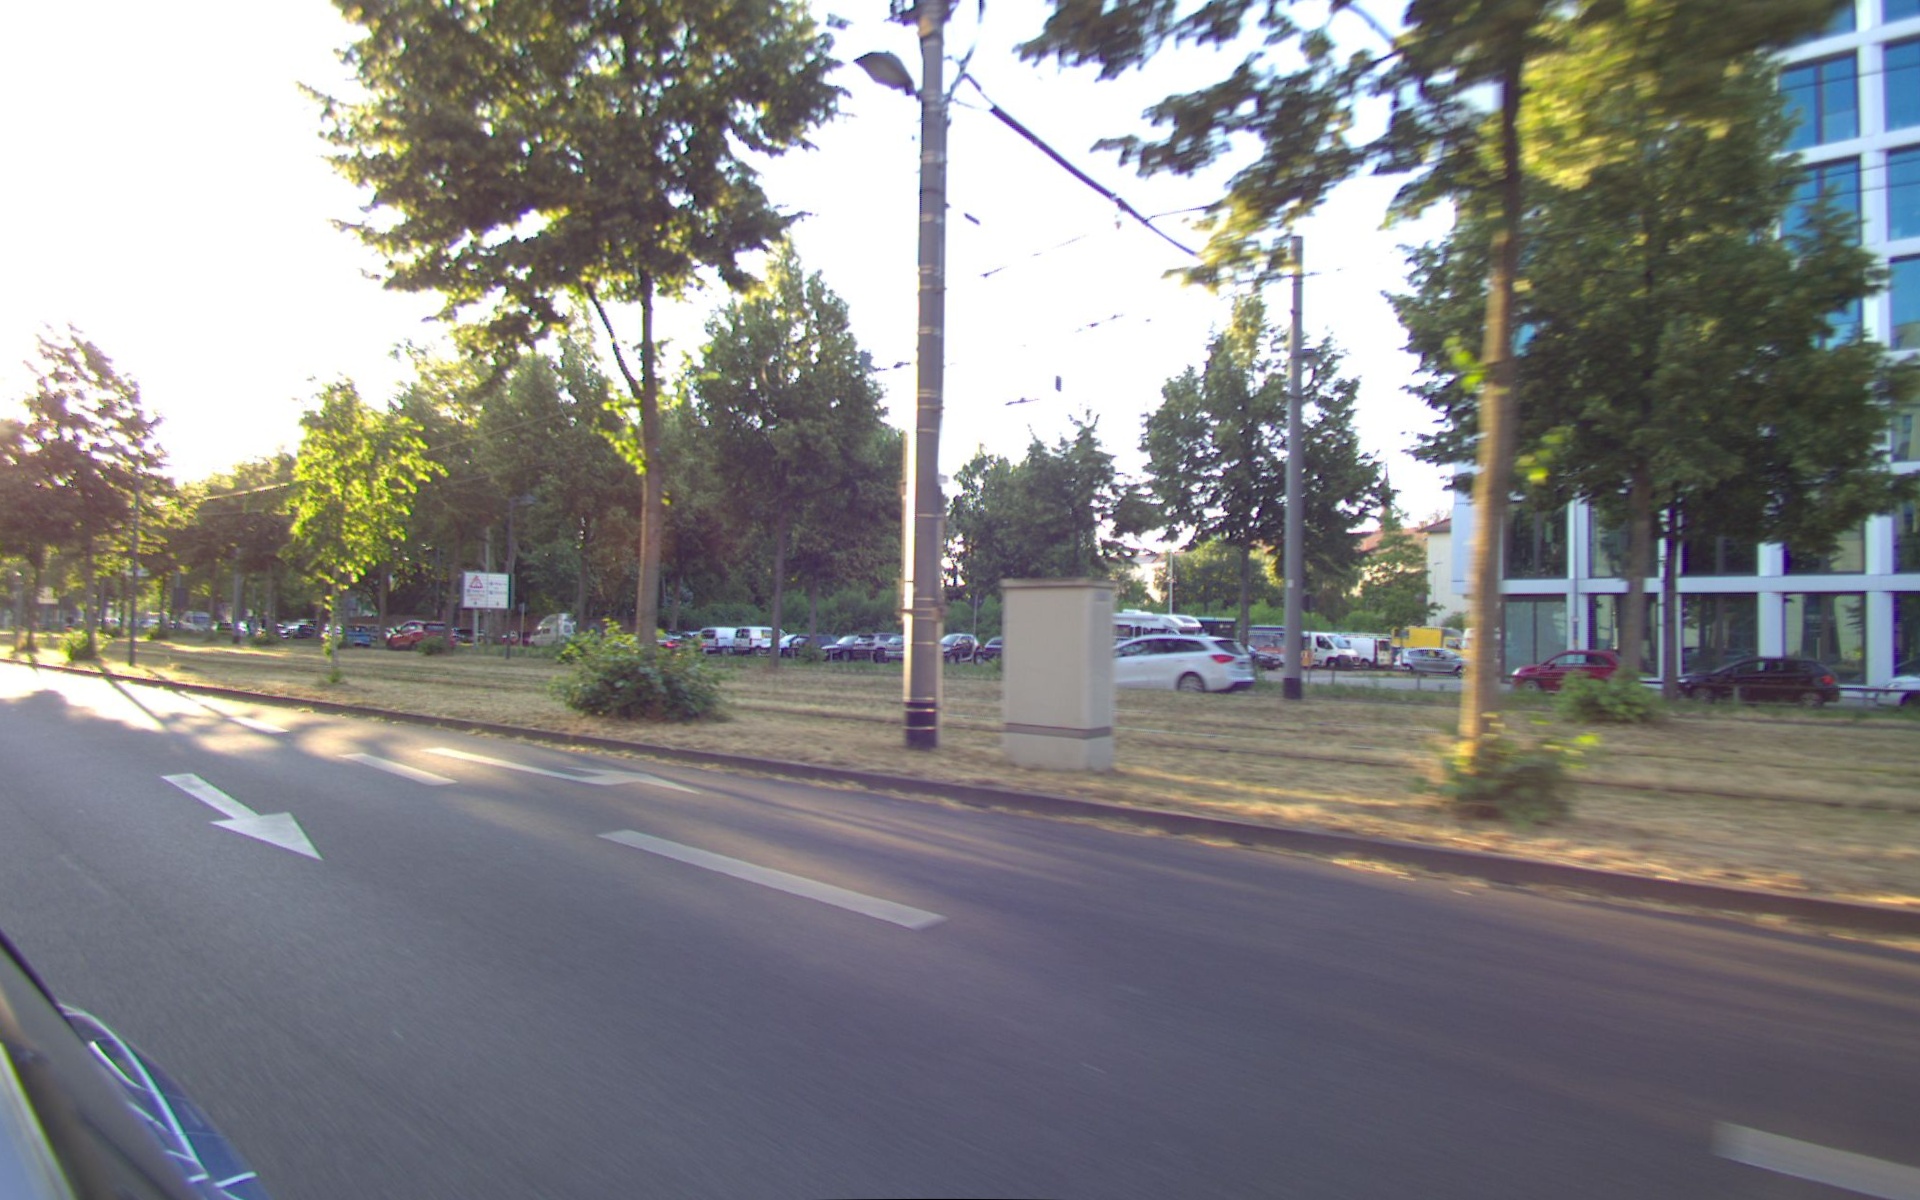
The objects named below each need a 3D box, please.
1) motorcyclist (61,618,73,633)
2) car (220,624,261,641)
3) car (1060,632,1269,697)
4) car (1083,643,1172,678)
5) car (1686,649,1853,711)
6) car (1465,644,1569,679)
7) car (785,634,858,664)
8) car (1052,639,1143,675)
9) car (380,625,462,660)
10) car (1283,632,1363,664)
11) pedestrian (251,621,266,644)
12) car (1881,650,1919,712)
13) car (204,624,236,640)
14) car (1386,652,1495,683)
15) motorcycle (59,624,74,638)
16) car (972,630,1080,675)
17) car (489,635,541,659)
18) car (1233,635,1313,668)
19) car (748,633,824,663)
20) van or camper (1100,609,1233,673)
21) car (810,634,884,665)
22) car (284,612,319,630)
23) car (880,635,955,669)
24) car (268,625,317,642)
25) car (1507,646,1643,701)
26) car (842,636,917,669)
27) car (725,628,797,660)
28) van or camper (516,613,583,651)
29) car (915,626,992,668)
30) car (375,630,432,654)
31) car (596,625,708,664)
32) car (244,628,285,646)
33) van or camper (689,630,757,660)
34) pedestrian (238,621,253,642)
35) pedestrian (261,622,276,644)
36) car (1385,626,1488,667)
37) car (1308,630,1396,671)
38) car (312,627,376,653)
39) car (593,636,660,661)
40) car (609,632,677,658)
[{"bbox_3d":[-85.214,2.425,96.532,0.803,1.386,0.674,-1,-3,37],"label":"motorcyclist"},{"bbox_3d":[-67.633,3.027,95.129,4.552,1.510,1.974,-1,-3,39],"label":"car"},{"bbox_3d":[4.686,1.455,23.551,4.522,1.342,1.641,-1,-3,37],"label":"car"},{"bbox_3d":[8.313,2.971,50.270,3.999,1.652,1.895,-1,-3,42],"label":"car"},{"bbox_3d":[23.298,2.261,29.245,3.661,1.594,1.841,-1,-2,39],"label":"car"},{"bbox_3d":[28.210,3.083,51.350,1.741,1.601,4.285,3,-3,-40],"label":"car"},{"bbox_3d":[-7.770,2.753,57.124,1.917,1.652,3.953,-1,-3,35],"label":"car"},{"bbox_3d":[6.630,2.728,48.873,3.999,1.652,1.895,-1,-3,42],"label":"car"},{"bbox_3d":[-26.006,2.040,48.760,4.175,1.590,1.868,-1,-3,37],"label":"car"},{"bbox_3d":[21.087,2.769,58.888,3.999,1.825,1.895,-1,-3,42],"label":"car"},{"bbox_3d":[-58.345,2.695,84.173,0.863,1.884,0.688,-1,-3,31],"label":"pedestrian"},{"bbox_3d":[26.963,2.163,26.701,3.780,1.594,1.841,-1,-2,39],"label":"car"},{"bbox_3d":[-75.567,3.269,103.331,1.970,1.652,4.002,3,-3,-44],"label":"car"},{"bbox_3d":[22.173,3.085,46.819,1.717,1.270,4.259,2,-3,-39],"label":"car"},{"bbox_3d":[-85.212,2.979,96.515,2.341,1.347,0.675,-1,-2,38],"label":"motorcycle"},{"bbox_3d":[3.108,2.489,48.537,4.925,2.029,1.974,-1,-3,38],"label":"car"},{"bbox_3d":[-34.588,3.618,78.598,3.994,1.763,1.975,-1,-3,38],"label":"car"},{"bbox_3d":[17.978,2.921,58.244,3.999,1.825,1.895,-1,-3,42],"label":"car"},{"bbox_3d":[-10.149,2.807,59.192,1.923,1.652,3.941,-2,-3,45],"label":"car"},{"bbox_3d":[10.549,2.072,52.184,6.261,3.109,2.681,-1,-3,42],"label":"van or camper"},{"bbox_3d":[-6.161,2.690,55.496,1.917,1.652,3.953,-1,-3,35],"label":"car"},{"bbox_3d":[-74.258,2.405,114.137,5.057,2.029,1.972,-1,-3,42],"label":"car"},{"bbox_3d":[-2.148,2.672,52.345,1.917,1.652,3.953,-1,-3,35],"label":"car"},{"bbox_3d":[-55.529,2.756,84.143,5.137,1.325,1.974,-1,-3,39],"label":"car"},{"bbox_3d":[19.663,2.314,32.402,3.488,1.594,1.841,-1,-2,39],"label":"car"},{"bbox_3d":[-4.230,2.762,53.888,1.917,1.652,3.953,-1,-3,35],"label":"car"},{"bbox_3d":[-12.020,2.669,61.245,2.010,1.858,3.948,-1,-3,39],"label":"car"},{"bbox_3d":[-30.567,2.353,75.297,5.485,2.756,2.065,-1,-3,37],"label":"van or camper"},{"bbox_3d":[-0.306,2.365,51.382,1.995,2.029,3.952,-1,-3,35],"label":"car"},{"bbox_3d":[-41.465,3.116,75.337,4.784,1.763,1.975,-1,-3,38],"label":"car"},{"bbox_3d":[-11.395,1.630,37.353,4.466,1.342,1.641,-1,-3,37],"label":"car"},{"bbox_3d":[-63.023,3.327,91.648,4.302,1.511,1.881,-1,-3,39],"label":"car"},{"bbox_3d":[-14.697,2.811,62.928,1.991,1.805,3.962,-1,-3,28],"label":"van or camper"},{"bbox_3d":[-59.537,2.633,84.323,0.864,1.756,0.687,-1,-3,36],"label":"pedestrian"},{"bbox_3d":[-58.273,2.772,85.234,0.863,1.772,0.688,-1,-3,31],"label":"pedestrian"},{"bbox_3d":[32.137,3.118,68.423,1.968,2.616,6.104,3,-3,-38],"label":"car"},{"bbox_3d":[23.469,2.987,60.725,2.074,2.325,4.513,2,-3,-40],"label":"car"},{"bbox_3d":[-37.616,2.425,61.765,4.281,1.519,1.899,-1,-3,38],"label":"car"},{"bbox_3d":[-22.881,3.298,69.525,1.921,1.652,3.946,-1,-3,40],"label":"car"},{"bbox_3d":[-21.301,3.013,68.041,1.920,1.652,3.947,-1,-3,39],"label":"car"}]
